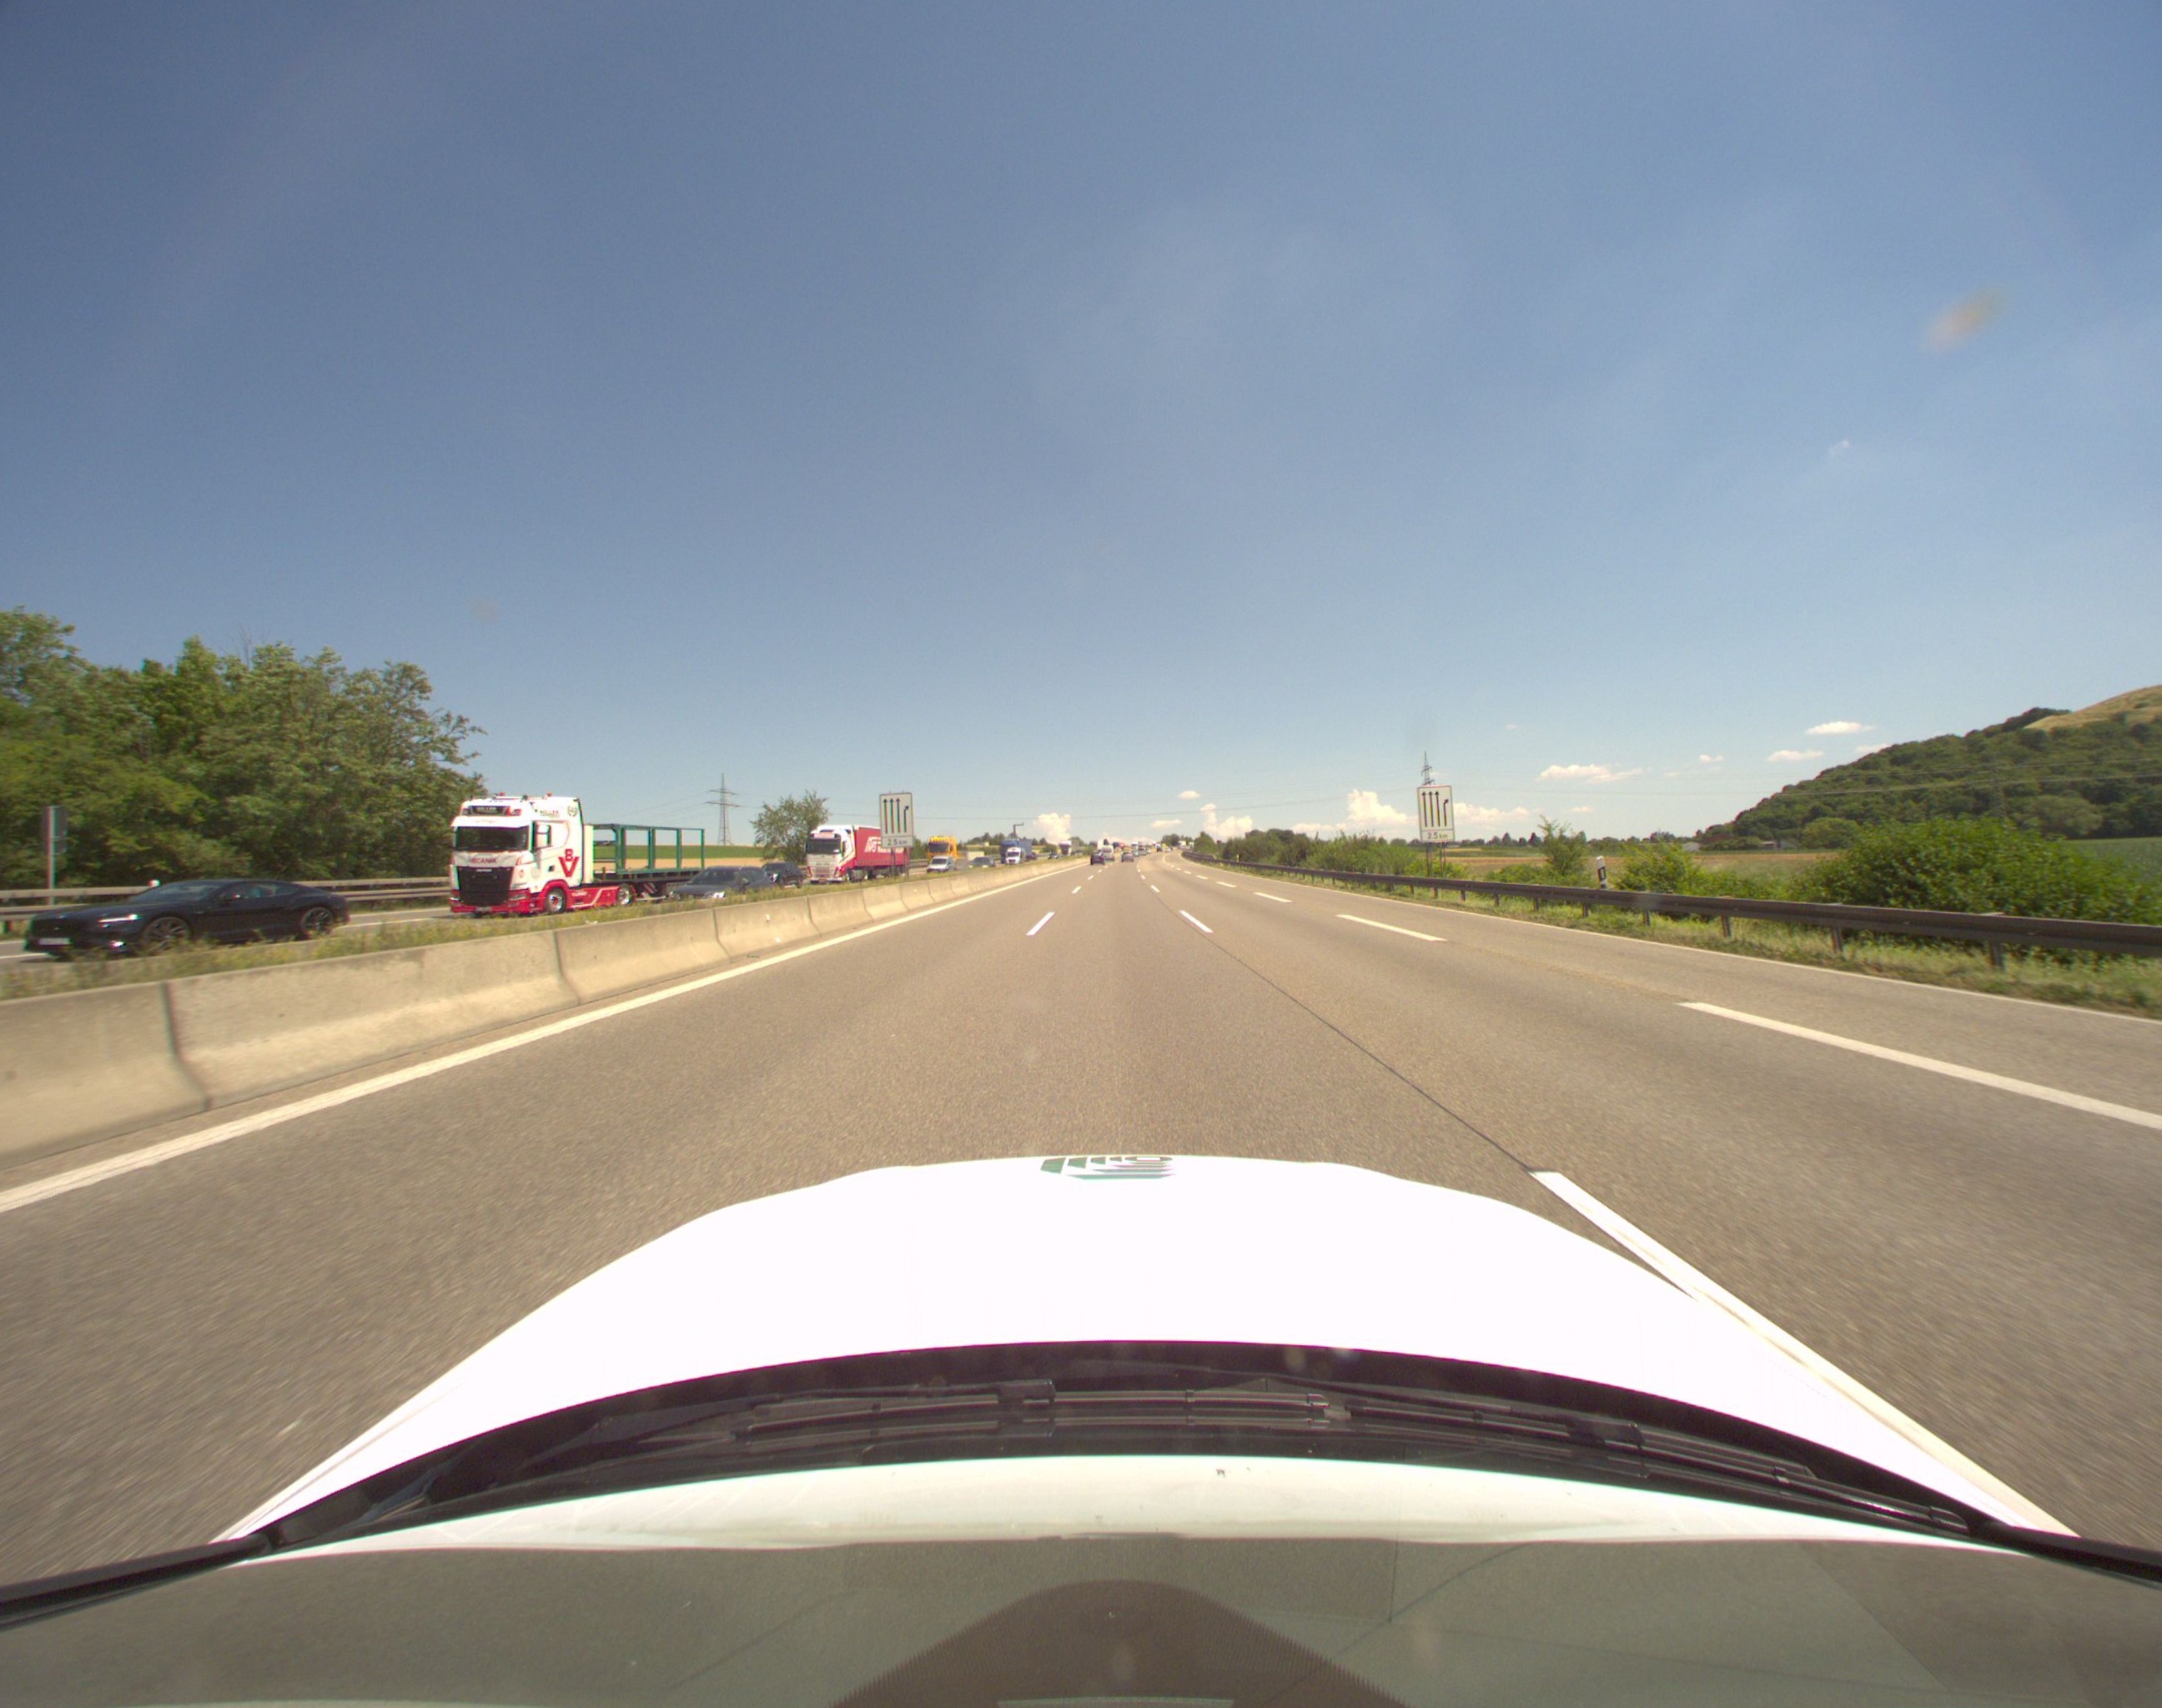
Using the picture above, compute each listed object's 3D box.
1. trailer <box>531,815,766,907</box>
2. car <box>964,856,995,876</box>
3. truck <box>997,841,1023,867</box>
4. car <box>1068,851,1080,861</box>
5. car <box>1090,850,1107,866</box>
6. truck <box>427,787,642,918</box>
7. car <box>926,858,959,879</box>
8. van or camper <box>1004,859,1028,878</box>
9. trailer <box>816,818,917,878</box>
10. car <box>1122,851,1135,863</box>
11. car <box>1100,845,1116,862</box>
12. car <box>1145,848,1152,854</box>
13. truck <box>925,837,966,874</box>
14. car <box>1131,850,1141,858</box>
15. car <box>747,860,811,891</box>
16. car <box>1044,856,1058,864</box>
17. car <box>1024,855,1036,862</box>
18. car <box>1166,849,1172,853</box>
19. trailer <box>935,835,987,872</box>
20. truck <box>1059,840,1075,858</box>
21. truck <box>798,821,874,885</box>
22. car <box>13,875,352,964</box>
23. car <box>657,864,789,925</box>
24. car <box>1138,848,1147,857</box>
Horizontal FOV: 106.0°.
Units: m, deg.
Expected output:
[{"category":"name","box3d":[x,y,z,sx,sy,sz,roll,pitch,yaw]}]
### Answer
[{"category":"trailer","box3d":[-17.618,0.272,34.921,2.847,3.206,12.789,-1,0,2]},{"category":"car","box3d":[-9.111,1.083,73.551,2.041,1.696,5.257,0,0,1]},{"category":"truck","box3d":[-11.556,0.024,133.196,3.061,4.090,6.944,-1,0,5]},{"category":"car","box3d":[-1.412,0.341,167.701,1.905,1.970,5.452,-1,0,4]},{"category":"car","box3d":[2.248,0.508,103.749,1.838,1.861,4.213,-1,1,6]},{"category":"truck","box3d":[-17.883,-0.040,27.248,2.890,3.876,6.180,-1,0,2]},{"category":"car","box3d":[-12.152,1.218,71.640,1.906,1.772,4.764,0,0,1]},{"category":"van or camper","box3d":[-8.922,1.957,111.889,2.301,2.586,7.149,-1,0,3]},{"category":"trailer","box3d":[-16.228,-0.408,63.156,3.072,4.100,14.396,-1,0,4]},{"category":"car","box3d":[7.321,0.513,125.863,1.986,1.750,4.000,-1,-2,1]},{"category":"car","box3d":[4.427,-0.052,131.720,2.168,2.625,4.680,-1,-2,7]},{"category":"car","box3d":[18.425,-0.818,222.625,1.983,1.552,4.007,0,1,6]},{"category":"truck","box3d":[-14.910,0.137,90.037,2.738,3.837,7.108,-1,0,5]},{"category":"car","box3d":[11.658,-0.053,173.752,1.985,1.585,4.003,-2,-1,3]},{"category":"car","box3d":[-17.115,1.253,46.440,1.831,1.631,4.605,-1,-2,1]},{"category":"car","box3d":[-5.666,1.132,154.300,1.905,1.541,5.748,-1,0,4]},{"category":"car","box3d":[-9.860,0.849,157.050,1.650,1.385,4.356,-1,0,5]},{"category":"car","box3d":[27.618,-0.966,256.220,1.891,1.442,4.009,-1,0,8]},{"category":"trailer","box3d":[-14.185,-0.103,97.661,2.939,4.100,14.401,-1,0,5]},{"category":"truck","box3d":[-3.511,-1.268,205.767,3.115,4.328,6.159,-1,0,7]},{"category":"truck","box3d":[-16.716,-0.070,56.032,3.023,4.082,6.320,-1,0,3]},{"category":"car","box3d":[-17.735,1.204,16.515,1.650,1.431,4.649,-1,-1,1]},{"category":"car","box3d":[-10.601,1.129,24.519,1.831,1.583,4.556,0,0,1]},{"category":"car","box3d":[14.552,-0.429,192.001,1.985,1.904,4.002,-1,-2,3]}]
